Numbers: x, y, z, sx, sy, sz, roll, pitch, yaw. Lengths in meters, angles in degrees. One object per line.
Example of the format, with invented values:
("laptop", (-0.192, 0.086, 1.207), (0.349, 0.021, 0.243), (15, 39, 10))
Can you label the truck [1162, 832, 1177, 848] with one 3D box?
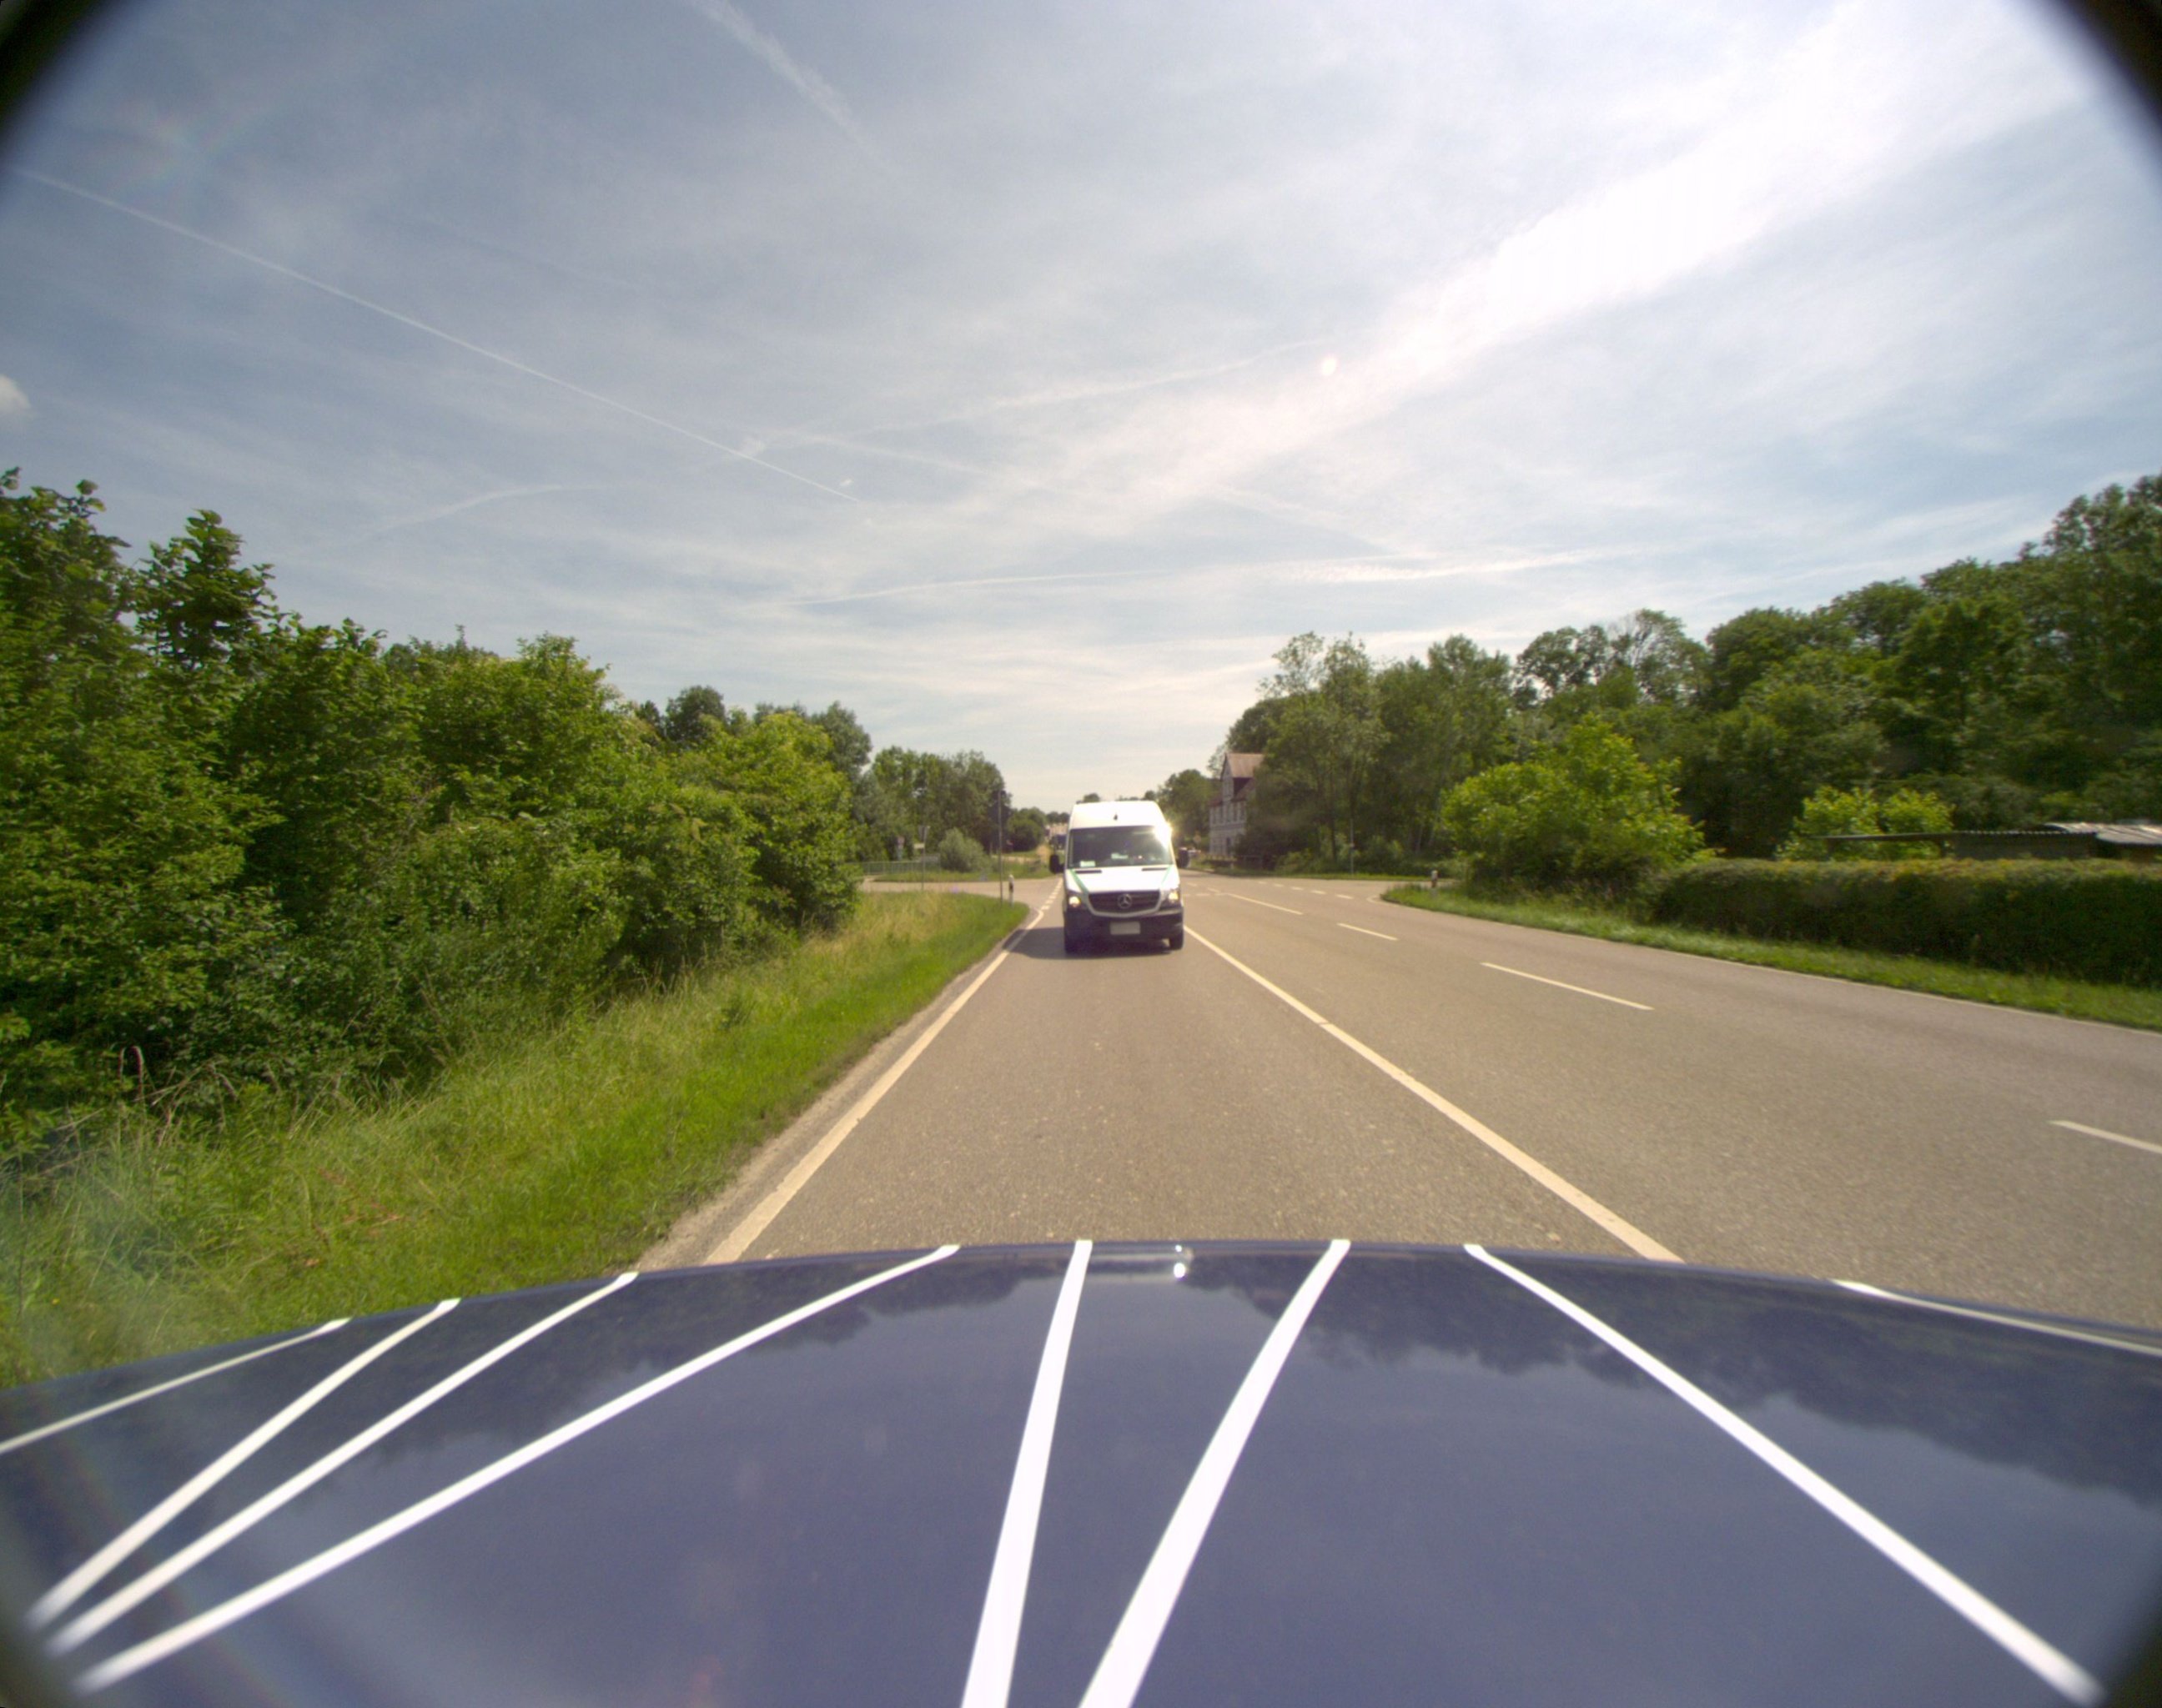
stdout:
("truck", (17.320, -2.852, 148.811), (2.031, 2.947, 6.771), (-2, 2, 0))

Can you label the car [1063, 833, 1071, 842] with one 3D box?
("car", (-3.644, -4.259, 195.414), (1.999, 2.166, 3.999), (-2, 1, 0))

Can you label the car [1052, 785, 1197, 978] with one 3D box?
("car", (0.572, 0.377, 13.573), (1.961, 2.655, 5.680), (-2, 0, -1))

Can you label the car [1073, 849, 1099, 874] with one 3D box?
("car", (0.326, 0.527, 55.342), (1.848, 1.692, 4.242), (-1, 0, -1))

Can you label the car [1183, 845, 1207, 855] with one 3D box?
("car", (17.623, -0.618, 117.838), (3.387, 1.457, 1.609), (-2, 2, -7))

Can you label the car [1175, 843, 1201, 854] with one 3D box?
("car", (18.012, -0.919, 127.853), (4.037, 1.609, 1.832), (-2, 2, 0))
